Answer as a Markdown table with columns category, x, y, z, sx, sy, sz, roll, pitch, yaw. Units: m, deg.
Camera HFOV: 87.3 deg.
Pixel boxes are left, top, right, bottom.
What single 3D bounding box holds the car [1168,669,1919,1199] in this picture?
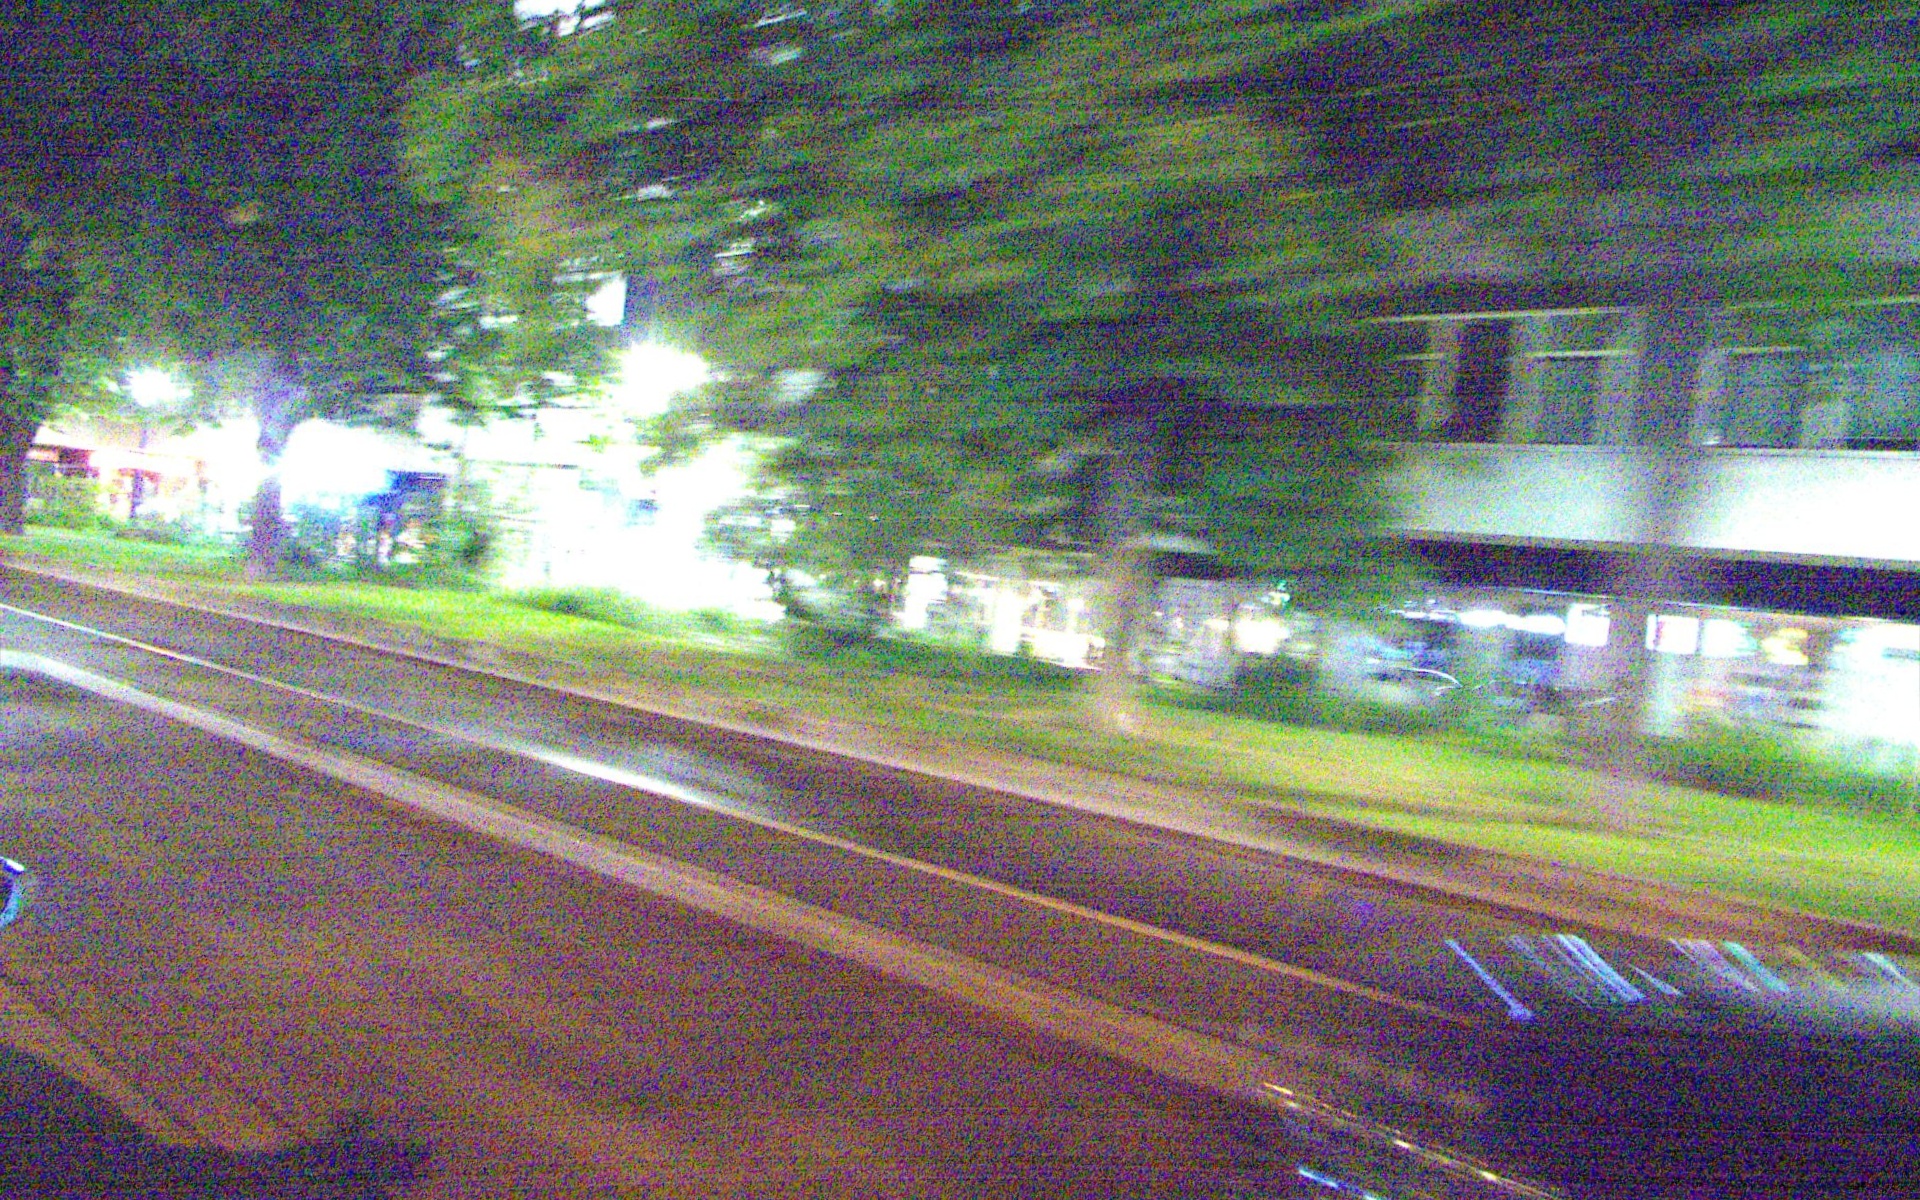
| category | x | y | z | sx | sy | sz | roll | pitch | yaw |
| --- | --- | --- | --- | --- | --- | --- | --- | --- | --- |
| car | 2.754 | 1.104 | 0.962 | 4.728 | 1.432 | 1.765 | 7 | 1 | 32 |
